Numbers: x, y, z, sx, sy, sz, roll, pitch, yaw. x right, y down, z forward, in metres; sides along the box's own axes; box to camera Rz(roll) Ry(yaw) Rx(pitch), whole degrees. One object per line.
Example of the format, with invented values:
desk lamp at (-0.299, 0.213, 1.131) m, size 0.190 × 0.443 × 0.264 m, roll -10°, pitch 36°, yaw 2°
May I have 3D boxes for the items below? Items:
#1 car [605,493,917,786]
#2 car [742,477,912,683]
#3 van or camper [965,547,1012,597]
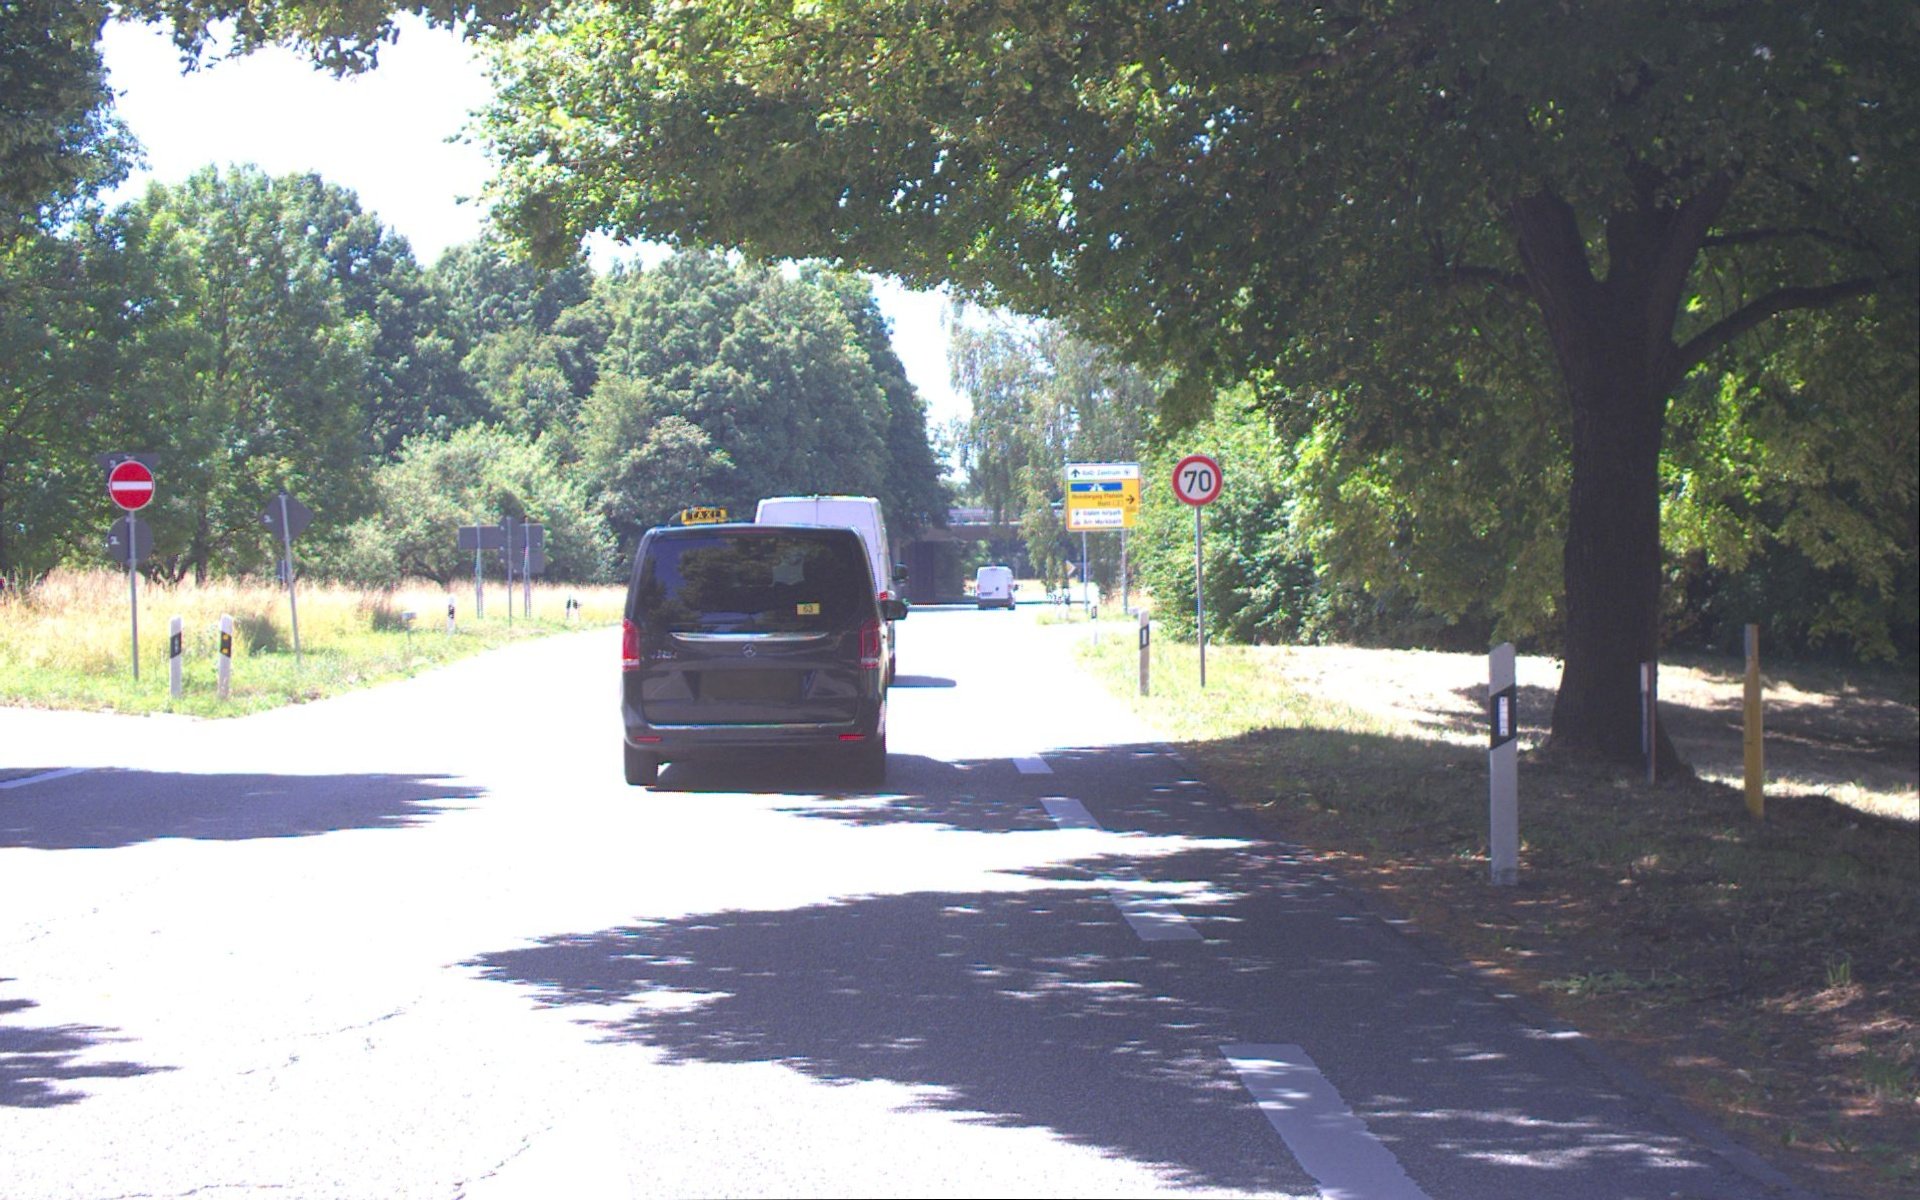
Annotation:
car at (-1.389, 0.260, 25.926) m, size 1.993 × 1.946 × 5.005 m, roll 1°, pitch 0°, yaw 0°
car at (-1.801, -0.270, 48.110) m, size 2.078 × 2.693 × 4.666 m, roll 1°, pitch 0°, yaw 1°
van or camper at (1.697, -1.651, 205.564) m, size 2.631 × 2.919 × 5.207 m, roll 1°, pitch 0°, yaw -1°
